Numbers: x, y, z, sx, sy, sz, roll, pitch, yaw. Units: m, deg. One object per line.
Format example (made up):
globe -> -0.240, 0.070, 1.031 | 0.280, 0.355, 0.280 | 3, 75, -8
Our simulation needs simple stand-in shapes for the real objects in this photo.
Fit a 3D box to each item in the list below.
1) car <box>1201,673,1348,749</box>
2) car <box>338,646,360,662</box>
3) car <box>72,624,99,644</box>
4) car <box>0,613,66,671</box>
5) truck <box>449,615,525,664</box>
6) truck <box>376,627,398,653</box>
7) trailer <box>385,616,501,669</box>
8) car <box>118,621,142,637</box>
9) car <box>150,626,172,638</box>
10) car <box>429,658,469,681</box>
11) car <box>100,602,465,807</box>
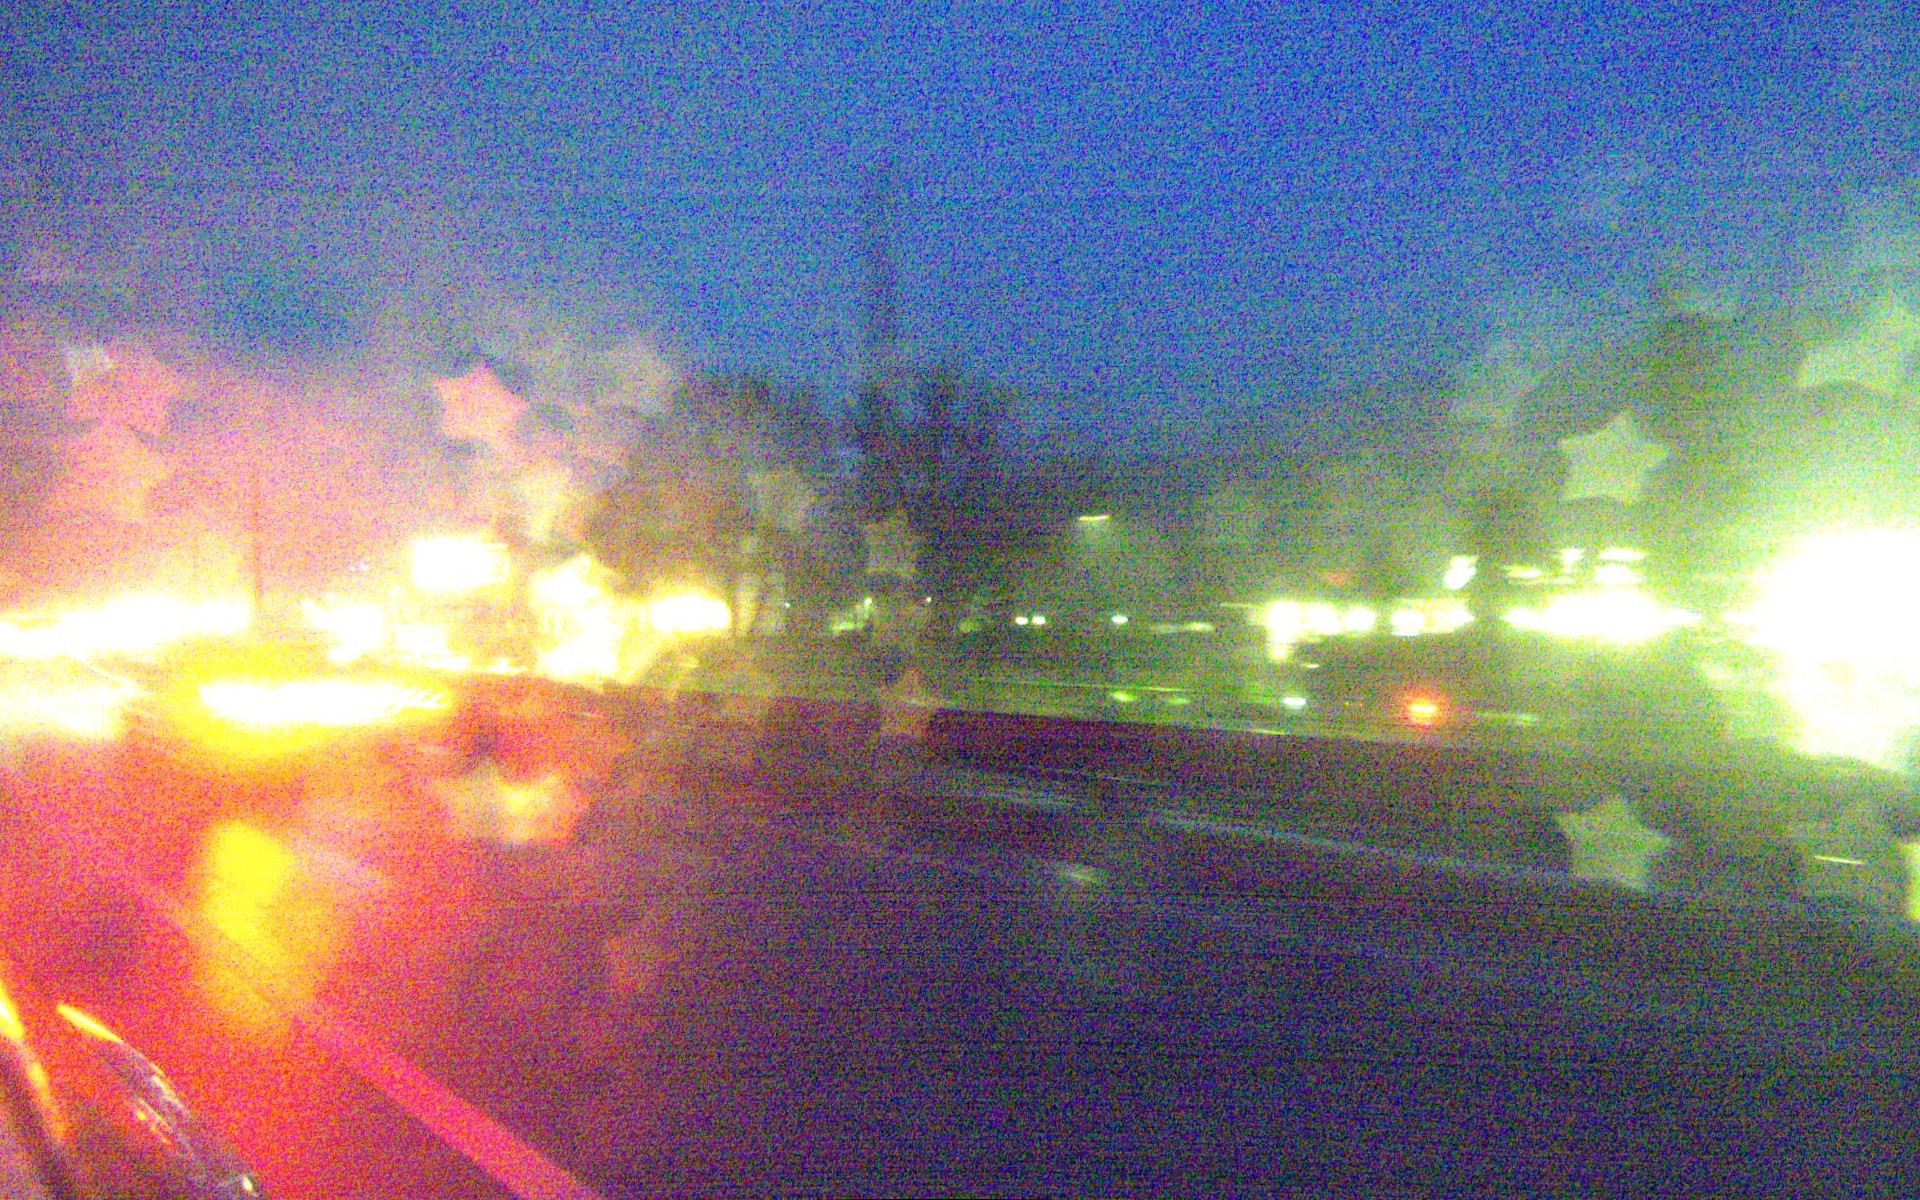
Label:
car -> 9.939, 3.453, 32.090 | 3.994, 2.029, 1.975 | -1, -1, 38
car -> -70.079, 6.193, 116.019 | 1.784, 1.688, 4.303 | 0, -1, -35
car -> -77.433, 3.002, 89.670 | 1.766, 1.635, 4.383 | 1, 0, -40
car -> -35.285, 1.537, 38.302 | 1.970, 2.090, 4.003 | 0, -1, -44
truck -> -49.299, 4.062, 105.698 | 3.309, 4.832, 7.279 | -1, -1, 17
truck -> -83.070, 5.753, 146.760 | 2.717, 3.509, 8.130 | 0, -1, -29
trailer -> -50.929, 4.022, 100.209 | 3.308, 4.832, 11.494 | -1, -1, 16
car -> -97.524, 3.385, 118.933 | 1.967, 1.820, 4.606 | 0, -1, -36
car -> -113.578, 4.546, 143.840 | 1.783, 1.688, 4.306 | 0, -1, -30
car -> -41.950, 5.664, 83.090 | 1.787, 1.688, 4.297 | 0, -1, -43
car -> -7.044, 0.872, 10.321 | 4.610, 1.625, 1.973 | -1, -2, 41
